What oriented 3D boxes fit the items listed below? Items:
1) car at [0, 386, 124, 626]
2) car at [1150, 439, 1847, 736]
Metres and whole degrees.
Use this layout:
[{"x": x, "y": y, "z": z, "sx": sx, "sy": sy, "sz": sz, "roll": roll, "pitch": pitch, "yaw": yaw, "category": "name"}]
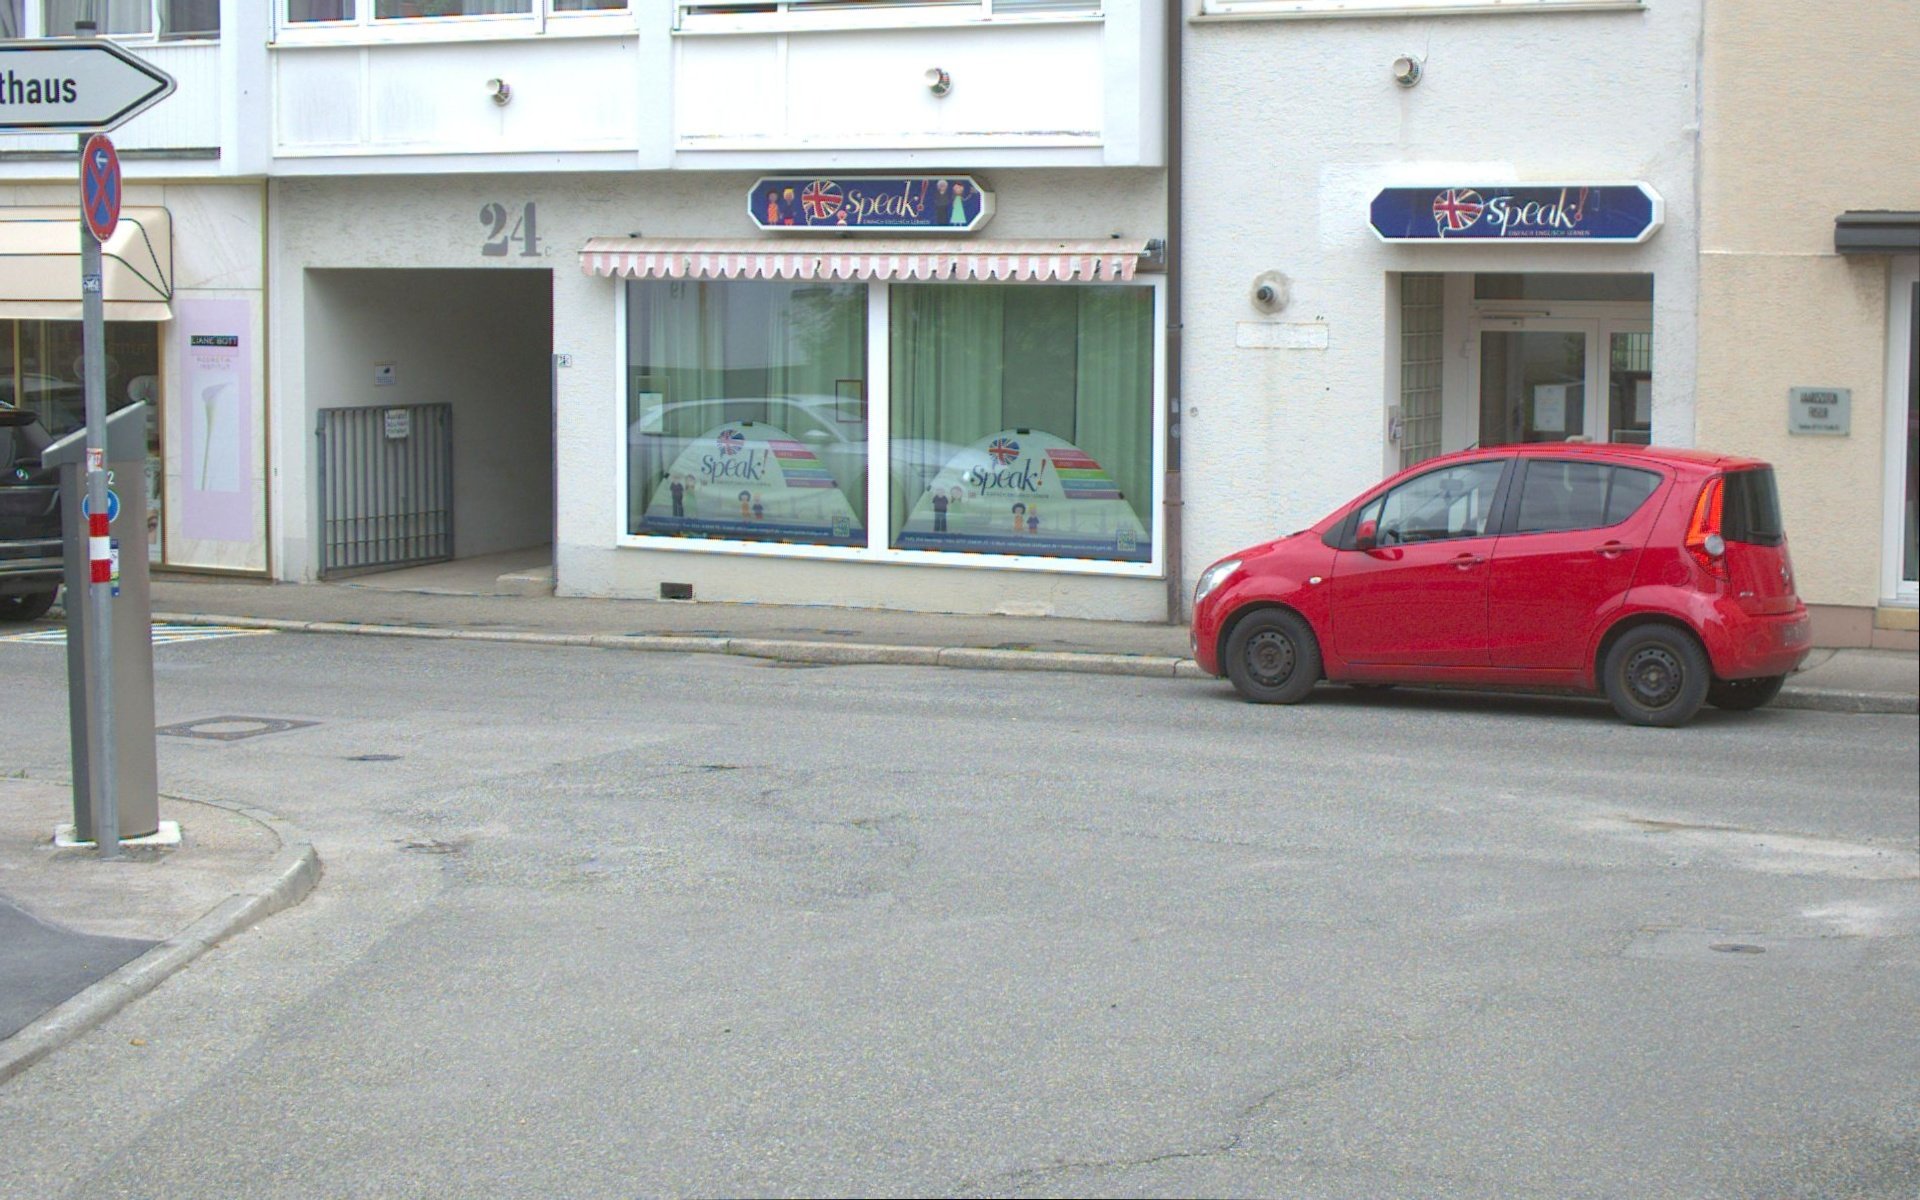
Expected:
[{"x": -8.883, "y": -0.787, "z": 26.943, "sx": 4.362, "sy": 1.773, "sz": 1.944, "roll": 2, "pitch": 4, "yaw": 30, "category": "car"}, {"x": 3.172, "y": -0.146, "z": 20.416, "sx": 3.690, "sy": 1.551, "sz": 1.694, "roll": 3, "pitch": 4, "yaw": 31, "category": "car"}]
